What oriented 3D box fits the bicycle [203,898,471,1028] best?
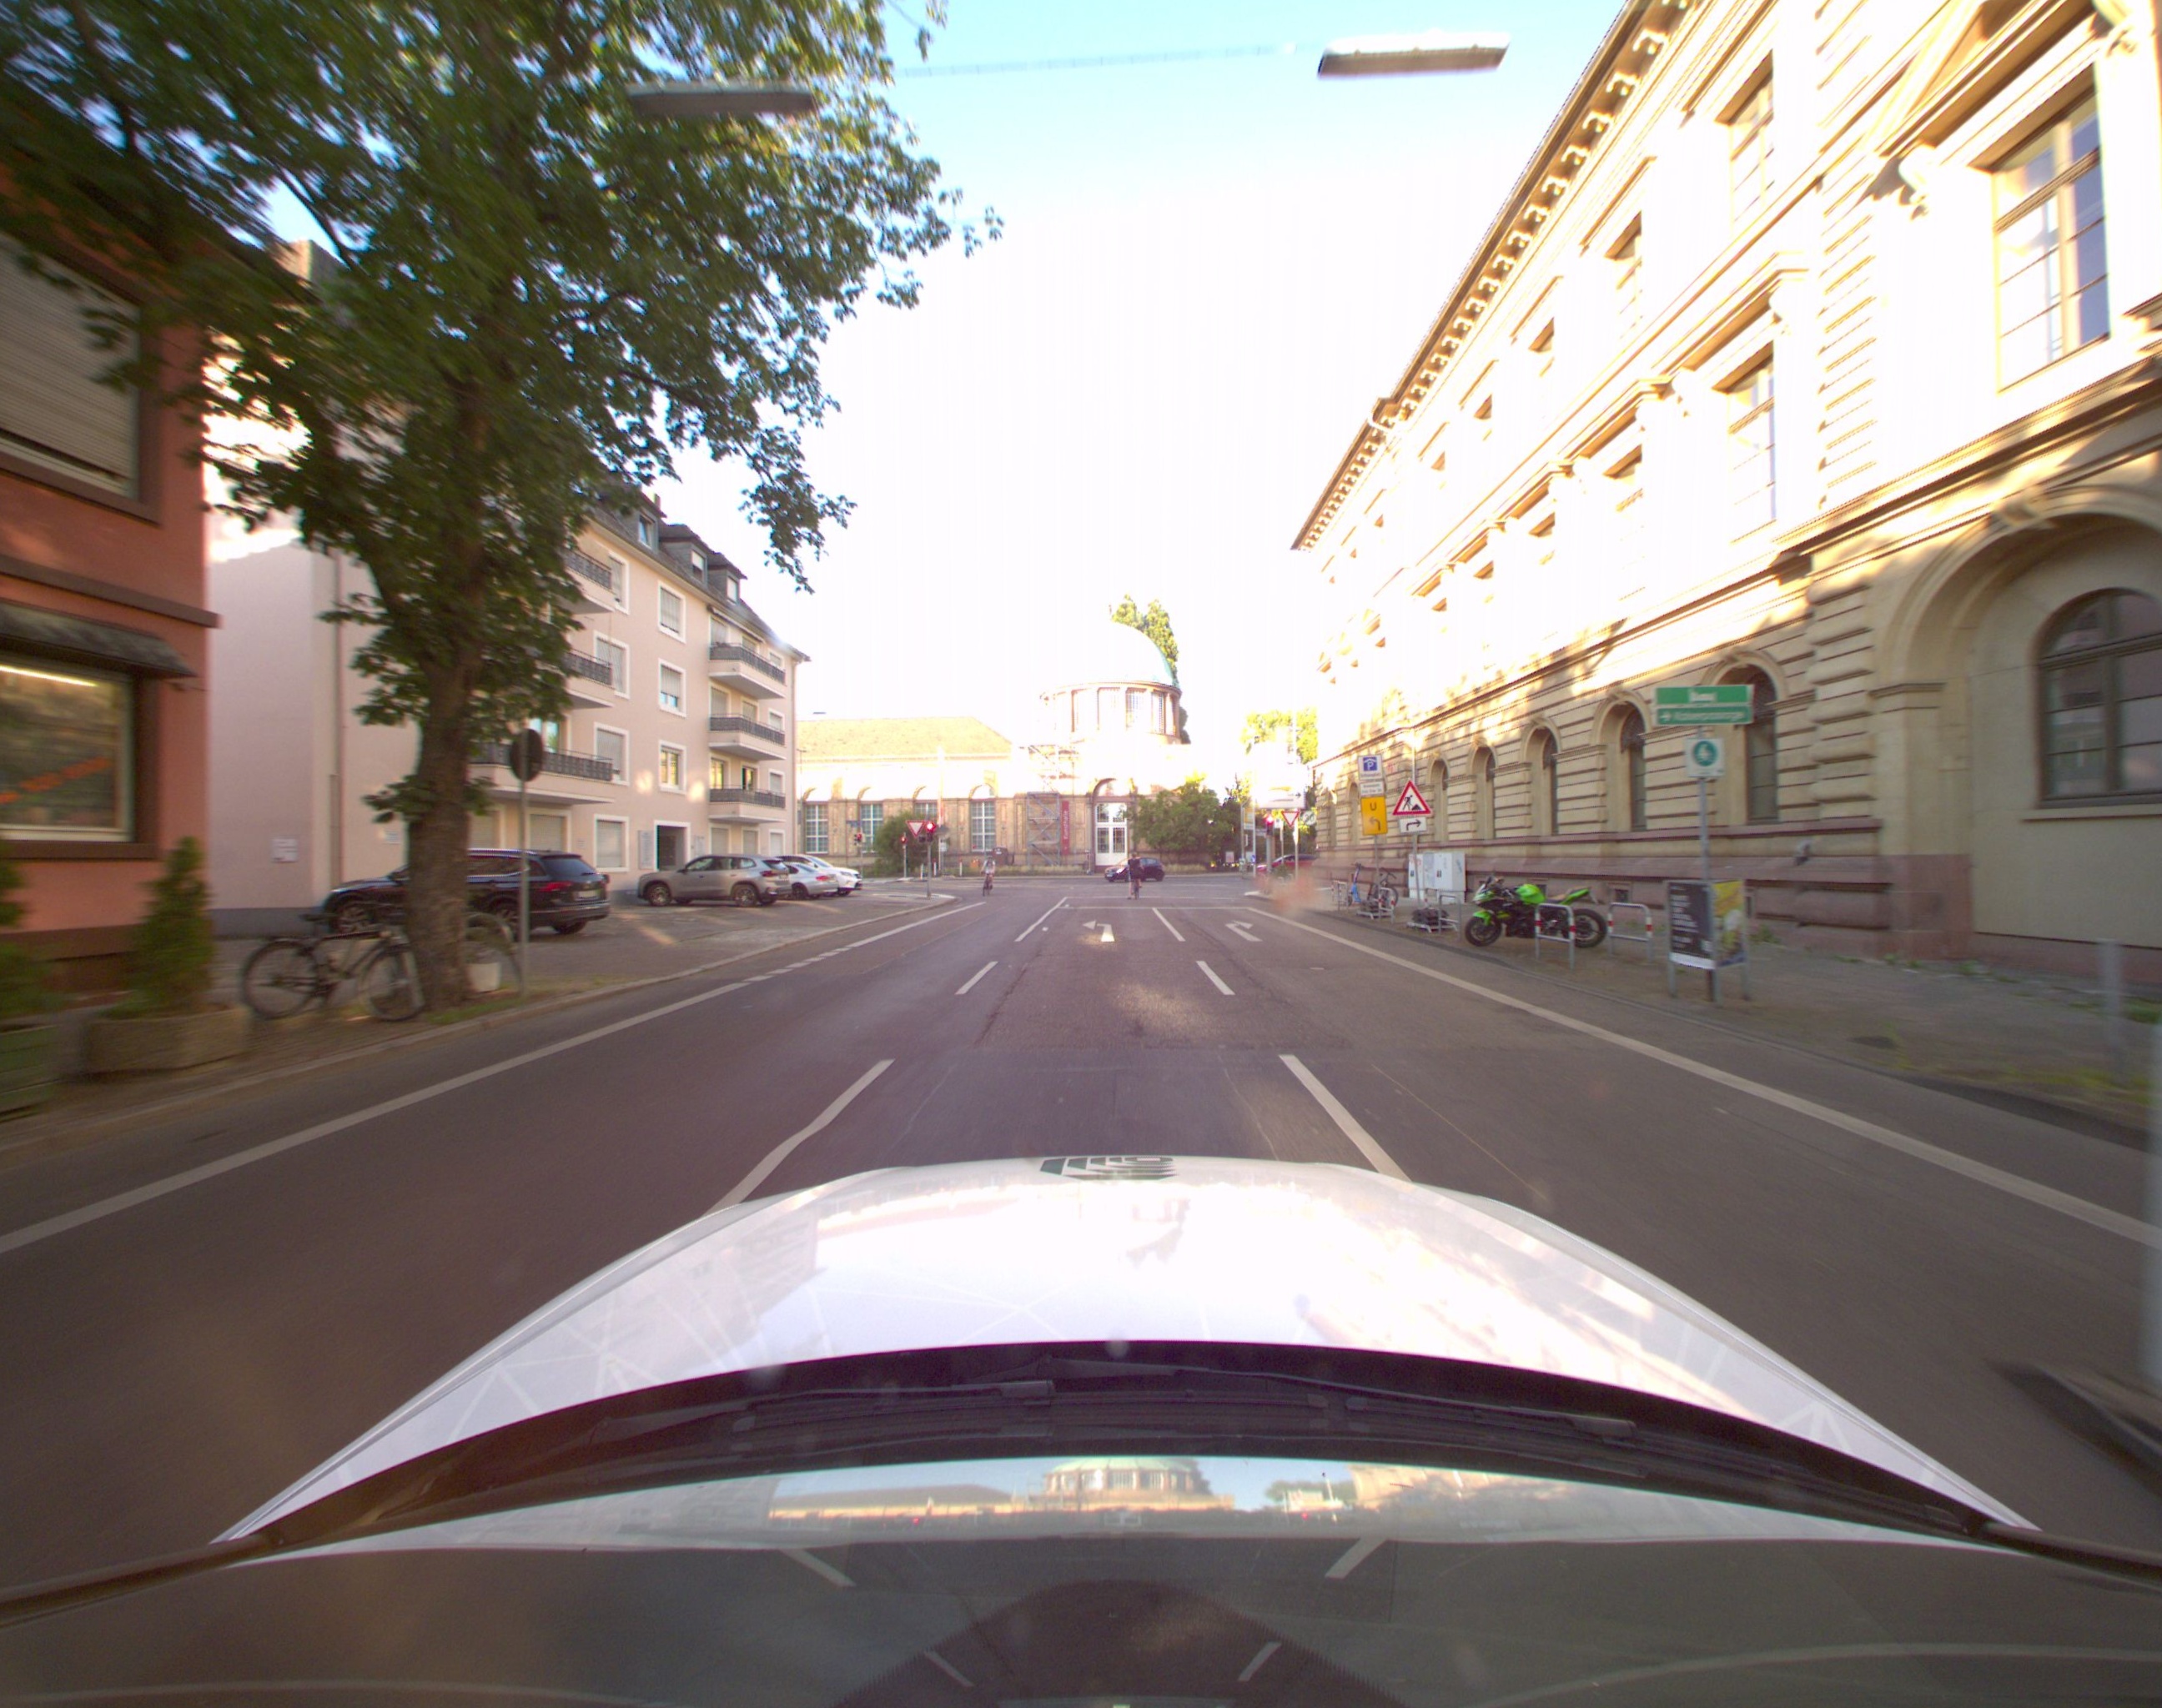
[{"bbox_3d":[-6.930,0.991,7.655,1.863,1.104,0.609,-1,-1,-5],"label":"bicycle"}]

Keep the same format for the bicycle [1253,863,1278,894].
[{"bbox_3d":[7.296,0.967,32.257,0.580,1.188,1.921,-1,-2,2],"label":"bicycle"}]

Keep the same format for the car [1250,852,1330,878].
[{"bbox_3d":[13.794,0.708,53.901,4.818,1.545,1.836,-2,0,-2],"label":"car"}]

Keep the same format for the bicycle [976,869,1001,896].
[{"bbox_3d":[-4.122,1.283,36.491,0.621,1.156,2.056,-1,-2,7],"label":"bicycle"}]

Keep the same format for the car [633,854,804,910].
[{"bbox_3d":[-11.152,0.848,25.299,4.403,1.605,1.916,1,0,0],"label":"car"}]

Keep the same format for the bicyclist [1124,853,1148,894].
[{"bbox_3d":[2.062,0.737,30.694,0.710,1.502,0.854,-1,-2,16],"label":"bicyclist"}]

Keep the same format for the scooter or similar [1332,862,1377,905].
[{"bbox_3d":[7.689,0.831,22.936,1.123,1.195,0.585,-1,0,9],"label":"scooter or similar"}]

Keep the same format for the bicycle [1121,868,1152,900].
[{"bbox_3d":[2.101,1.114,30.813,0.706,1.156,2.077,-1,-2,16],"label":"bicycle"}]

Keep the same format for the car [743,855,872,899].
[{"bbox_3d":[-10.790,0.892,32.336,4.425,1.641,1.942,1,0,0],"label":"car"}]

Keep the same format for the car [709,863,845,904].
[{"bbox_3d":[-11.018,1.038,29.706,4.252,1.380,1.736,1,0,0],"label":"car"}]

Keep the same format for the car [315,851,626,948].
[{"bbox_3d":[-11.336,0.806,15.366,4.403,1.665,1.864,1,0,0],"label":"car"}]

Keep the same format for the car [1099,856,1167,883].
[{"bbox_3d":[3.173,0.911,49.358,3.869,1.471,1.646,-2,0,-34],"label":"car"}]

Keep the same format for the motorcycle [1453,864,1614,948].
[{"bbox_3d":[7.032,0.815,12.720,2.077,1.215,0.715,-4,-1,31],"label":"motorcycle"}]

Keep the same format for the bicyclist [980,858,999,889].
[{"bbox_3d":[-4.103,0.860,36.631,0.622,1.364,0.931,-1,-2,7],"label":"bicyclist"}]

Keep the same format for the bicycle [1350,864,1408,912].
[{"bbox_3d":[7.779,0.856,21.357,0.824,1.134,1.945,-4,0,2],"label":"bicycle"}]
